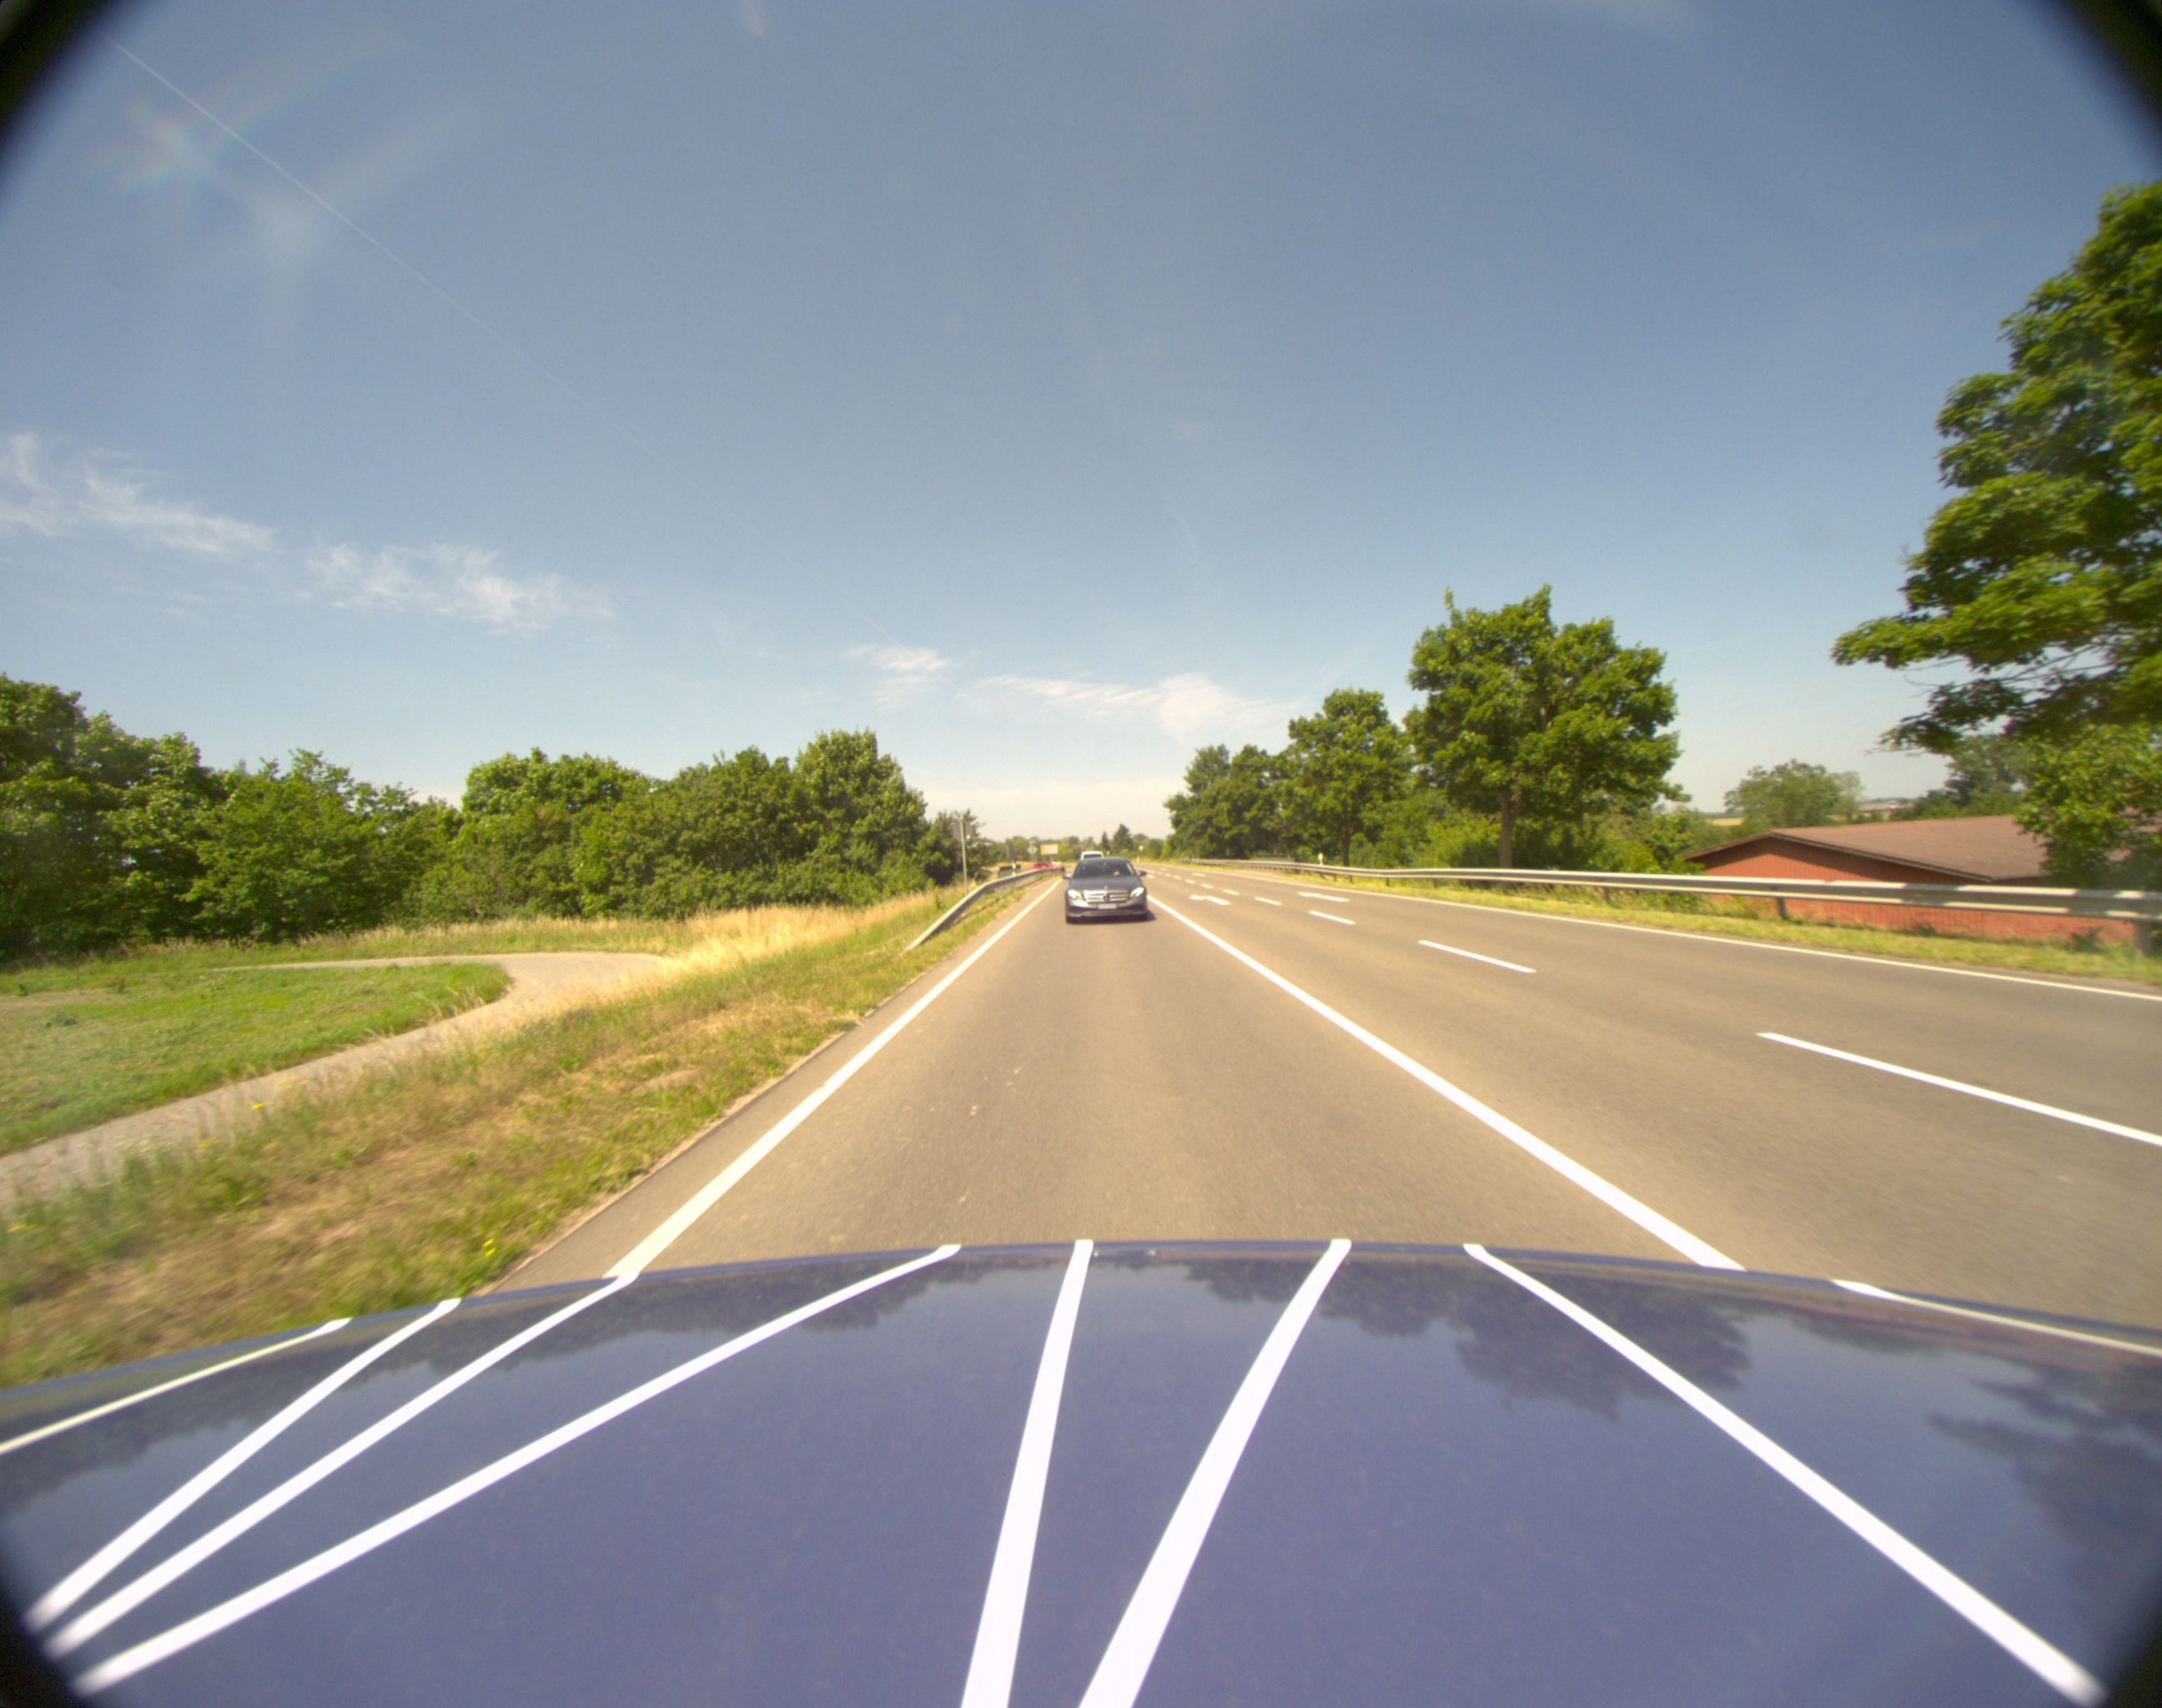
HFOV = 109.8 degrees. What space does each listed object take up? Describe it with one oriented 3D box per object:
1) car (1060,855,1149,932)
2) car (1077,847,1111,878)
[{"bbox_3d":[0.636,0.847,18.557,1.831,1.540,4.500,-3,0,3],"label":"car"},{"bbox_3d":[1.007,0.581,56.746,2.179,2.002,5.025,-6,0,2],"label":"car"}]
